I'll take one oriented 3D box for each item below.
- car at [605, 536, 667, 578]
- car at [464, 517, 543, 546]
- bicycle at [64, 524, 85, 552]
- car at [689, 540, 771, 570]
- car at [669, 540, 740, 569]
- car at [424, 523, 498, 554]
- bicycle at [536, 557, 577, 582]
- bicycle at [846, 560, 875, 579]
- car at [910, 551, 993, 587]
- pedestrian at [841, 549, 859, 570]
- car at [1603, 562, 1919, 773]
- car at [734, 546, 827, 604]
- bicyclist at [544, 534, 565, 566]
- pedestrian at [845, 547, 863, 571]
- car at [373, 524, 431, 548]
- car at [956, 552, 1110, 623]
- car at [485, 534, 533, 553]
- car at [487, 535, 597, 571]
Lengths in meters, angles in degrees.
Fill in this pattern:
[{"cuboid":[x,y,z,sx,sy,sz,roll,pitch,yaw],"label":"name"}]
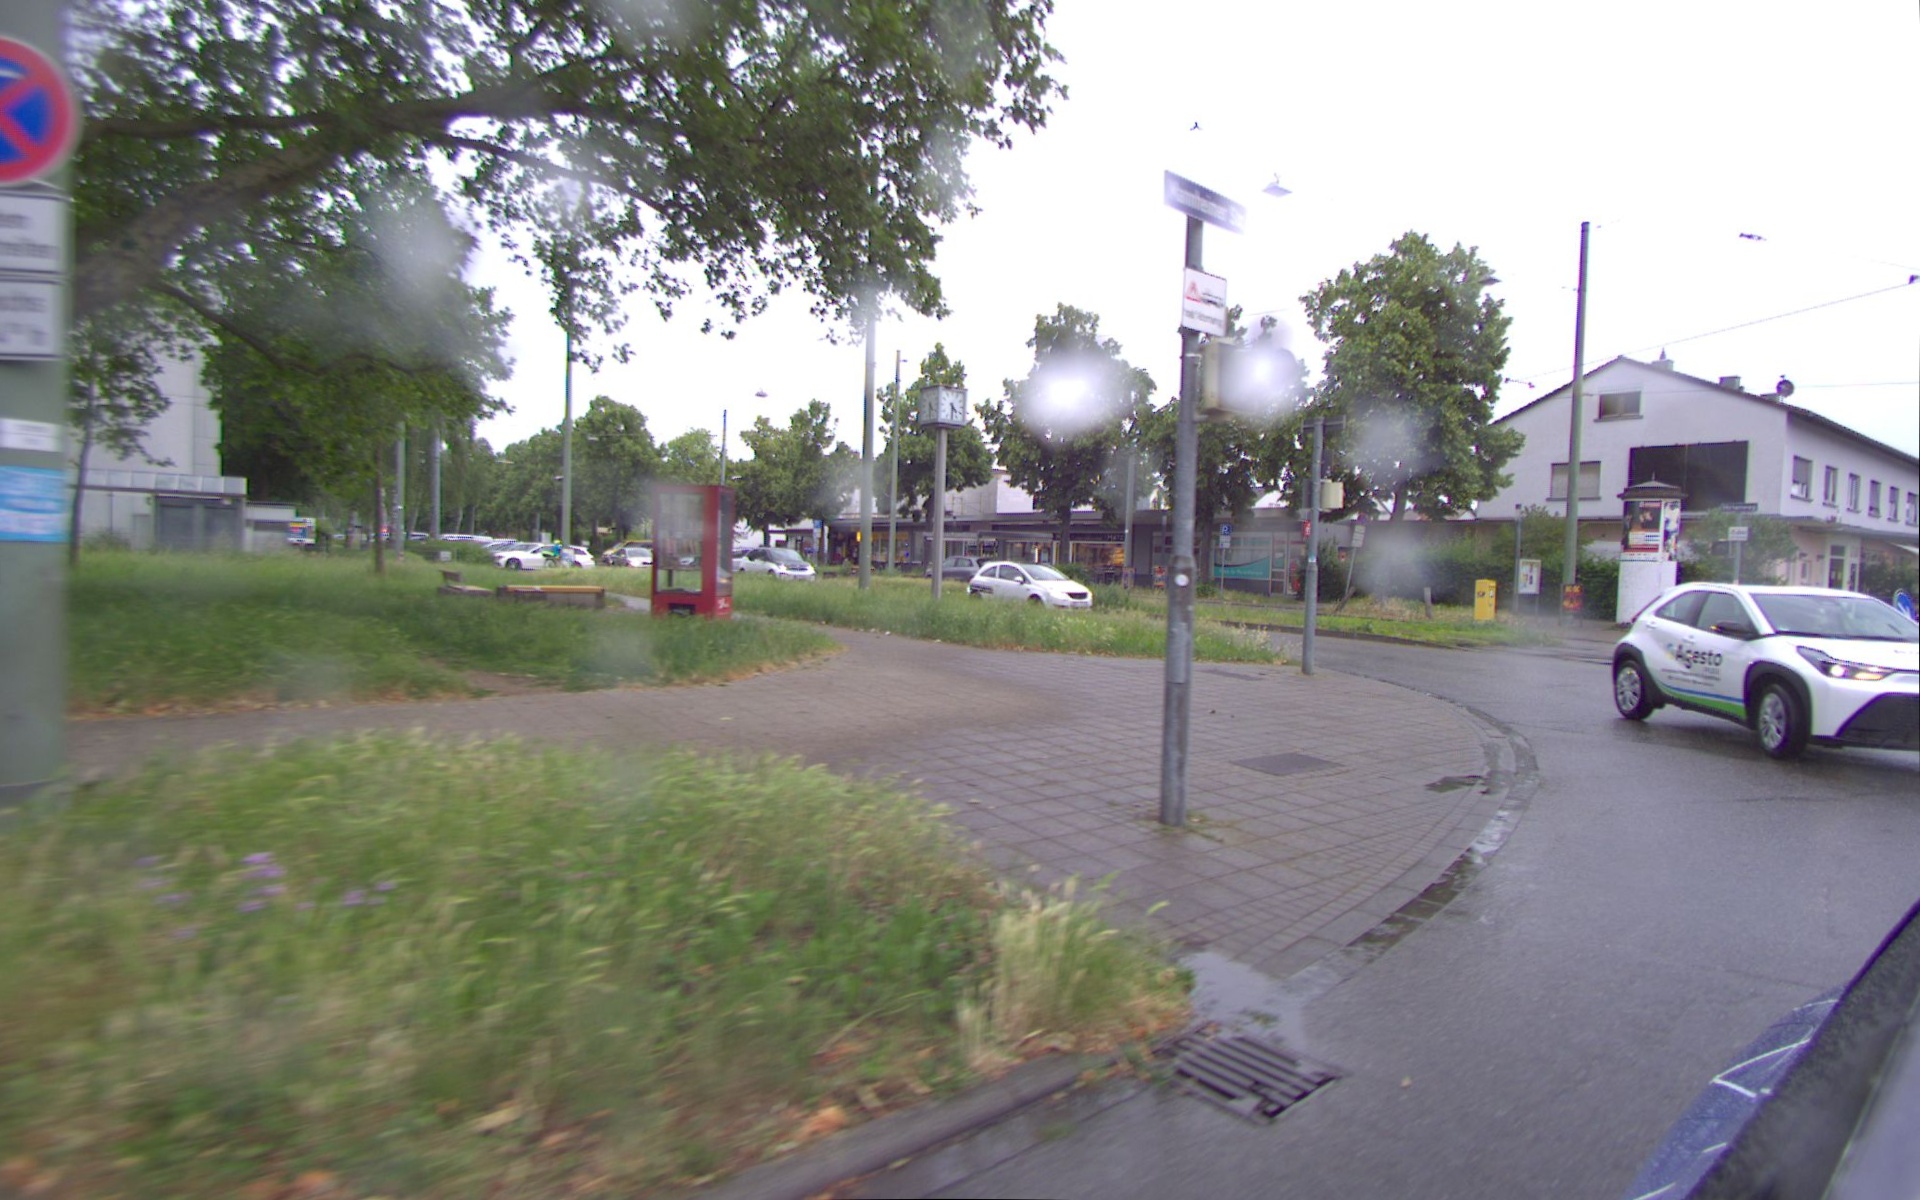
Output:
[{"cuboid":[-16.933,-2.275,52.807,1.963,2.037,4.002,-3,5,-35],"label":"car"},{"cuboid":[-26.786,-4.019,59.417,3.925,1.604,1.724,-2,4,-35],"label":"car"},{"cuboid":[-31.387,-2.215,35.878,0.370,0.967,1.239,-2,4,-33],"label":"bicycle"},{"cuboid":[-13.576,-2.639,59.821,4.258,1.694,2.000,-2,4,-37],"label":"car"},{"cuboid":[-15.601,-2.787,61.895,3.875,1.694,1.793,-2,4,-37],"label":"car"},{"cuboid":[-34.761,-4.277,70.529,4.367,2.086,1.722,-3,5,-39],"label":"car"},{"cuboid":[-19.477,-1.478,48.909,0.724,1.144,1.732,2,2,35],"label":"bicycle"},{"cuboid":[-5.968,-1.842,60.746,1.741,1.085,0.586,4,2,37],"label":"bicycle"},{"cuboid":[-0.412,-1.461,46.451,3.603,1.521,1.532,3,4,37],"label":"car"},{"cuboid":[-8.347,-3.081,76.935,1.058,1.603,0.950,1,3,-25],"label":"pedestrian"},{"cuboid":[7.950,0.484,9.657,1.692,1.644,3.706,0,1,9],"label":"car"},{"cuboid":[-6.989,-1.038,39.085,1.963,2.037,4.000,-2,4,-37],"label":"car"},{"cuboid":[-19.547,-2.409,48.780,0.720,1.535,0.690,2,2,36],"label":"bicyclist"},{"cuboid":[-7.949,-3.105,75.763,1.058,1.734,0.950,1,3,-25],"label":"pedestrian"},{"cuboid":[-50.637,-5.801,91.844,4.367,2.086,1.722,-3,5,-39],"label":"car"},{"cuboid":[1.900,-0.401,27.425,1.928,1.571,4.000,-1,6,-38],"label":"car"},{"cuboid":[-49.272,-6.191,110.638,4.466,1.966,1.899,-2,4,-37],"label":"car"},{"cuboid":[-20.982,-2.345,50.822,4.749,1.476,2.001,2,1,-35],"label":"car"}]
